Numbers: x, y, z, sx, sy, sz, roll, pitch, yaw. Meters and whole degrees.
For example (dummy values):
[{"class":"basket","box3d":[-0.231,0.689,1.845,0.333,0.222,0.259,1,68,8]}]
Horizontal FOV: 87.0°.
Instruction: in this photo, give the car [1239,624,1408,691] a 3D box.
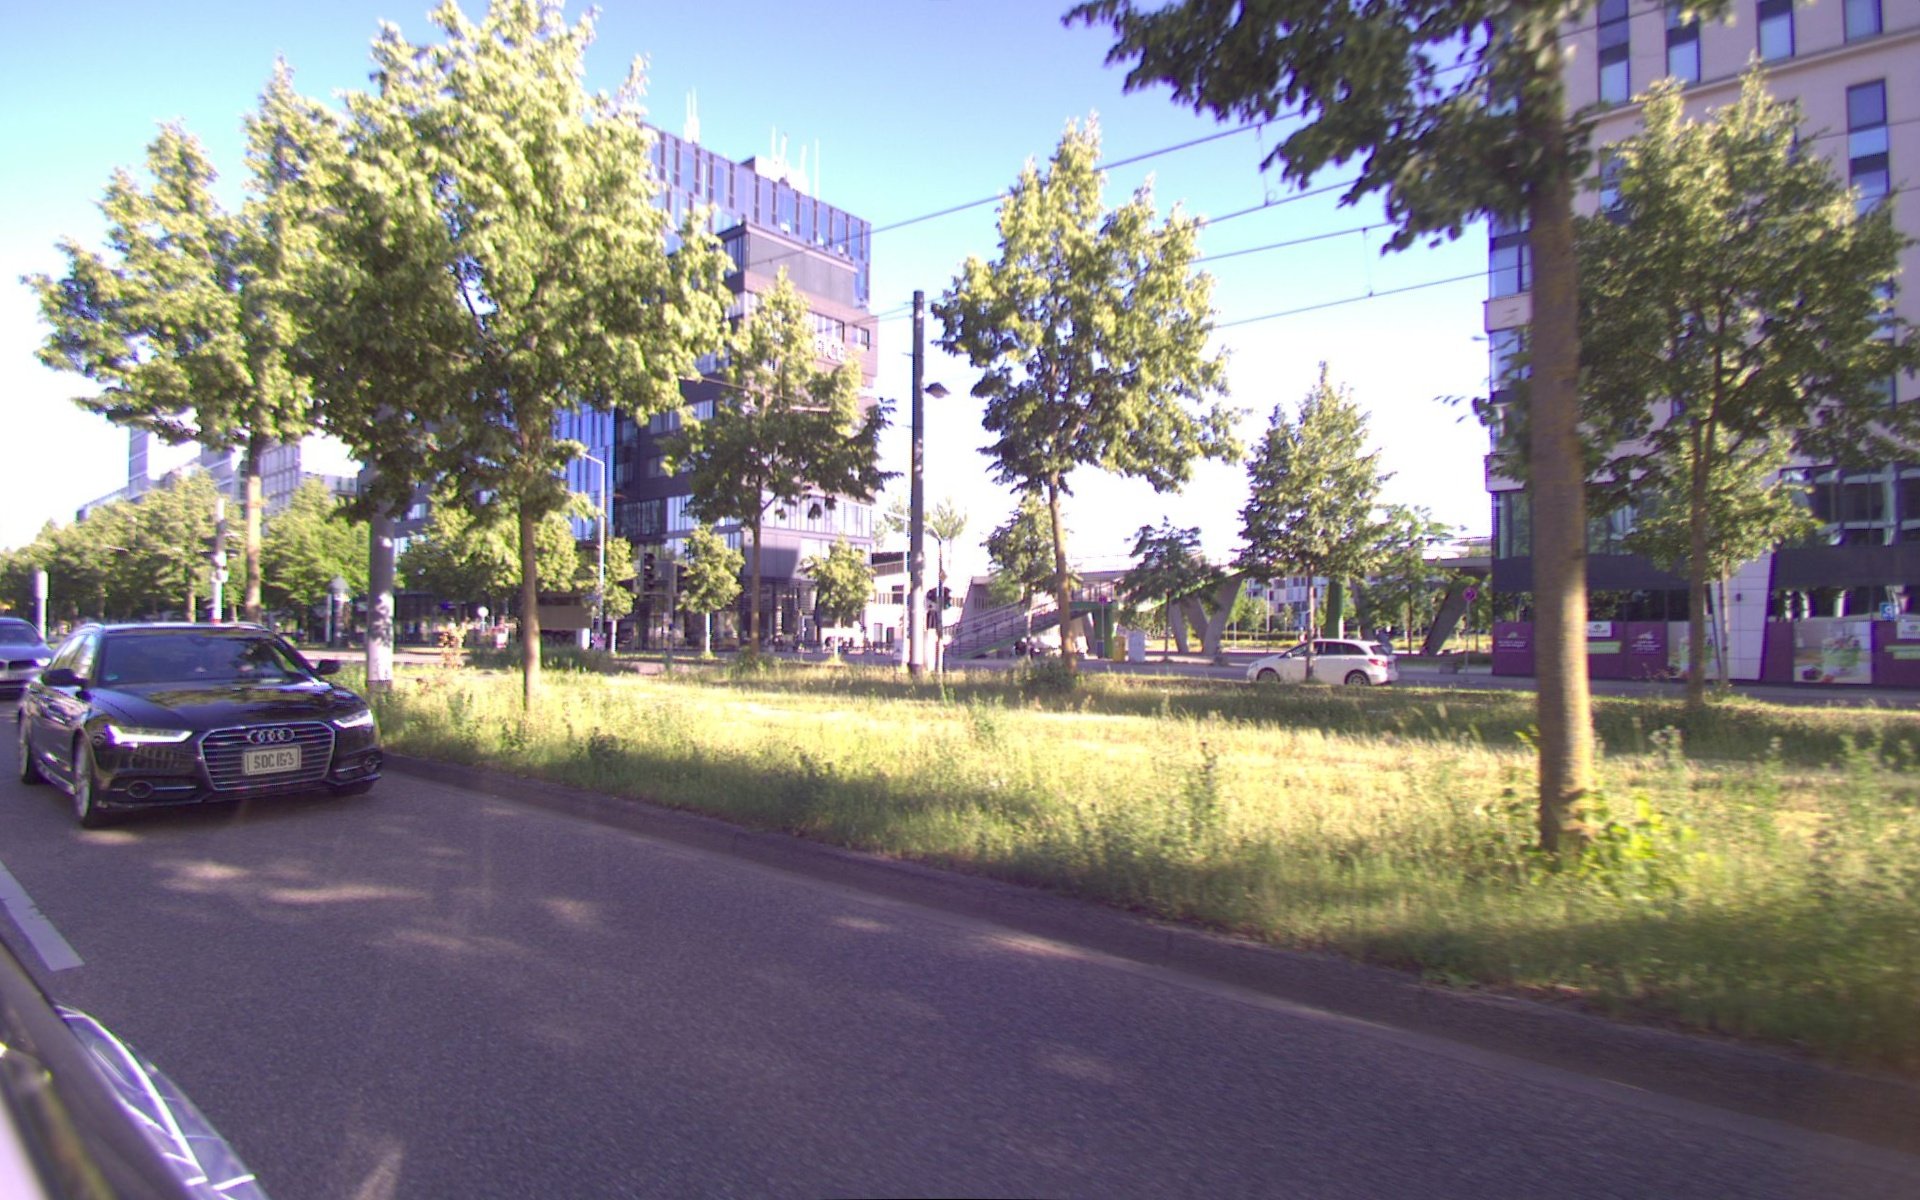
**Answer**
[{"class":"car","box3d":[10.993,1.681,30.768,4.416,1.822,2.080,-1,0,39]}]

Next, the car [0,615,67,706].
[{"class":"car","box3d":[-18.517,1.092,19.180,4.276,1.590,1.862,-1,0,41]}]

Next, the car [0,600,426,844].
[{"class":"car","box3d":[-6.657,0.849,8.589,5.079,1.492,1.933,-2,-3,39]}]
